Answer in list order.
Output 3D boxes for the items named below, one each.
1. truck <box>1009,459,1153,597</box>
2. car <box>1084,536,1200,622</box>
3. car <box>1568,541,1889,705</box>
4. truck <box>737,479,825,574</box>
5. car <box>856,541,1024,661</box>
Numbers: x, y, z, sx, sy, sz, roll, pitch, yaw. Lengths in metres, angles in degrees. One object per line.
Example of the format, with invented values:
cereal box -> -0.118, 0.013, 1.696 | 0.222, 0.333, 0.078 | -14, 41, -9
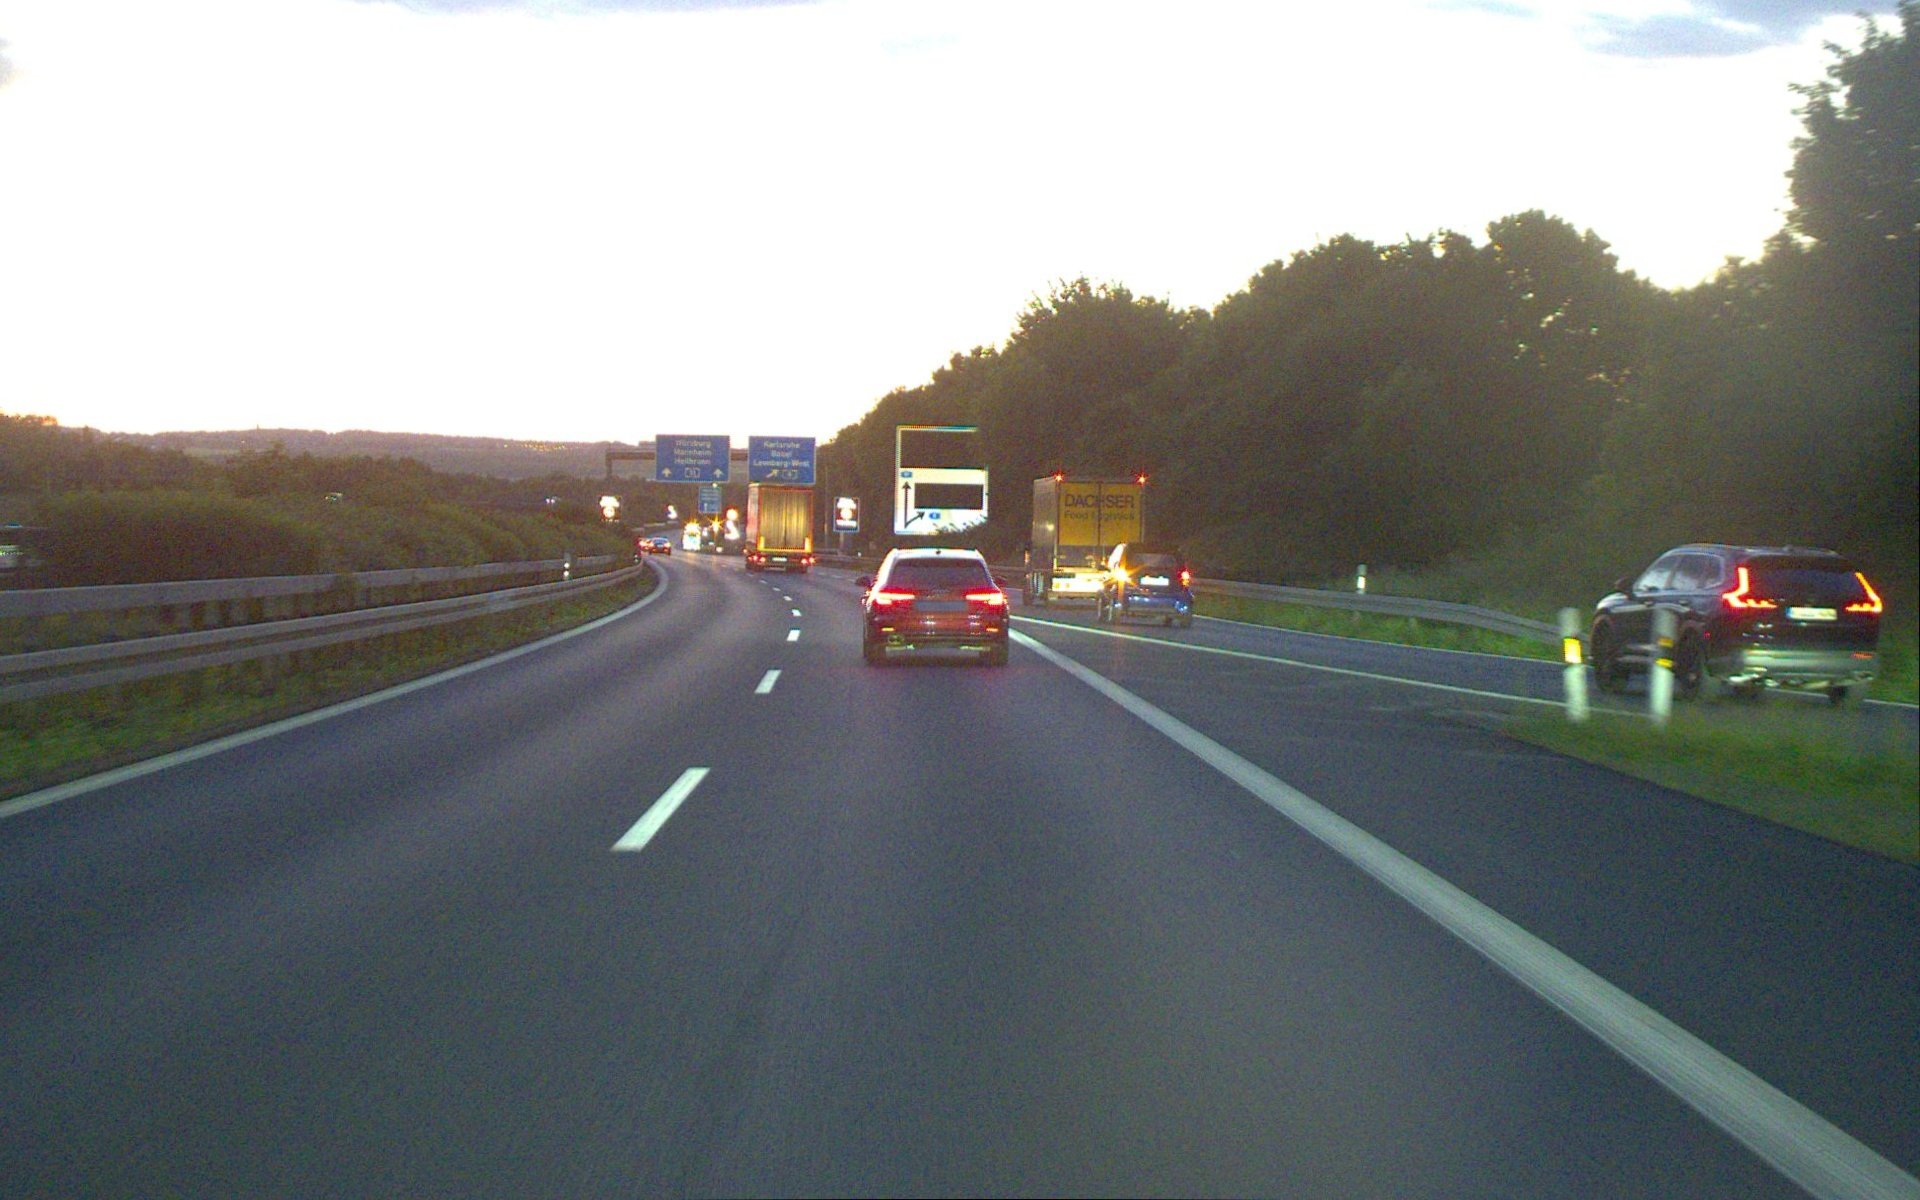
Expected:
truck -> 2.750, -1.667, 80.030 | 2.268, 2.961, 6.633 | 3, 1, -6
car -> 3.402, -0.406, 64.866 | 1.610, 1.550, 3.319 | 1, 1, -7
car -> 8.181, 0.185, 37.110 | 1.797, 1.639, 5.161 | 0, 1, -6
truck -> -8.446, -3.383, 161.065 | 3.509, 4.286, 9.893 | 1, 1, -6
car -> -0.306, -0.005, 43.926 | 1.915, 1.437, 4.001 | 1, 1, -4
